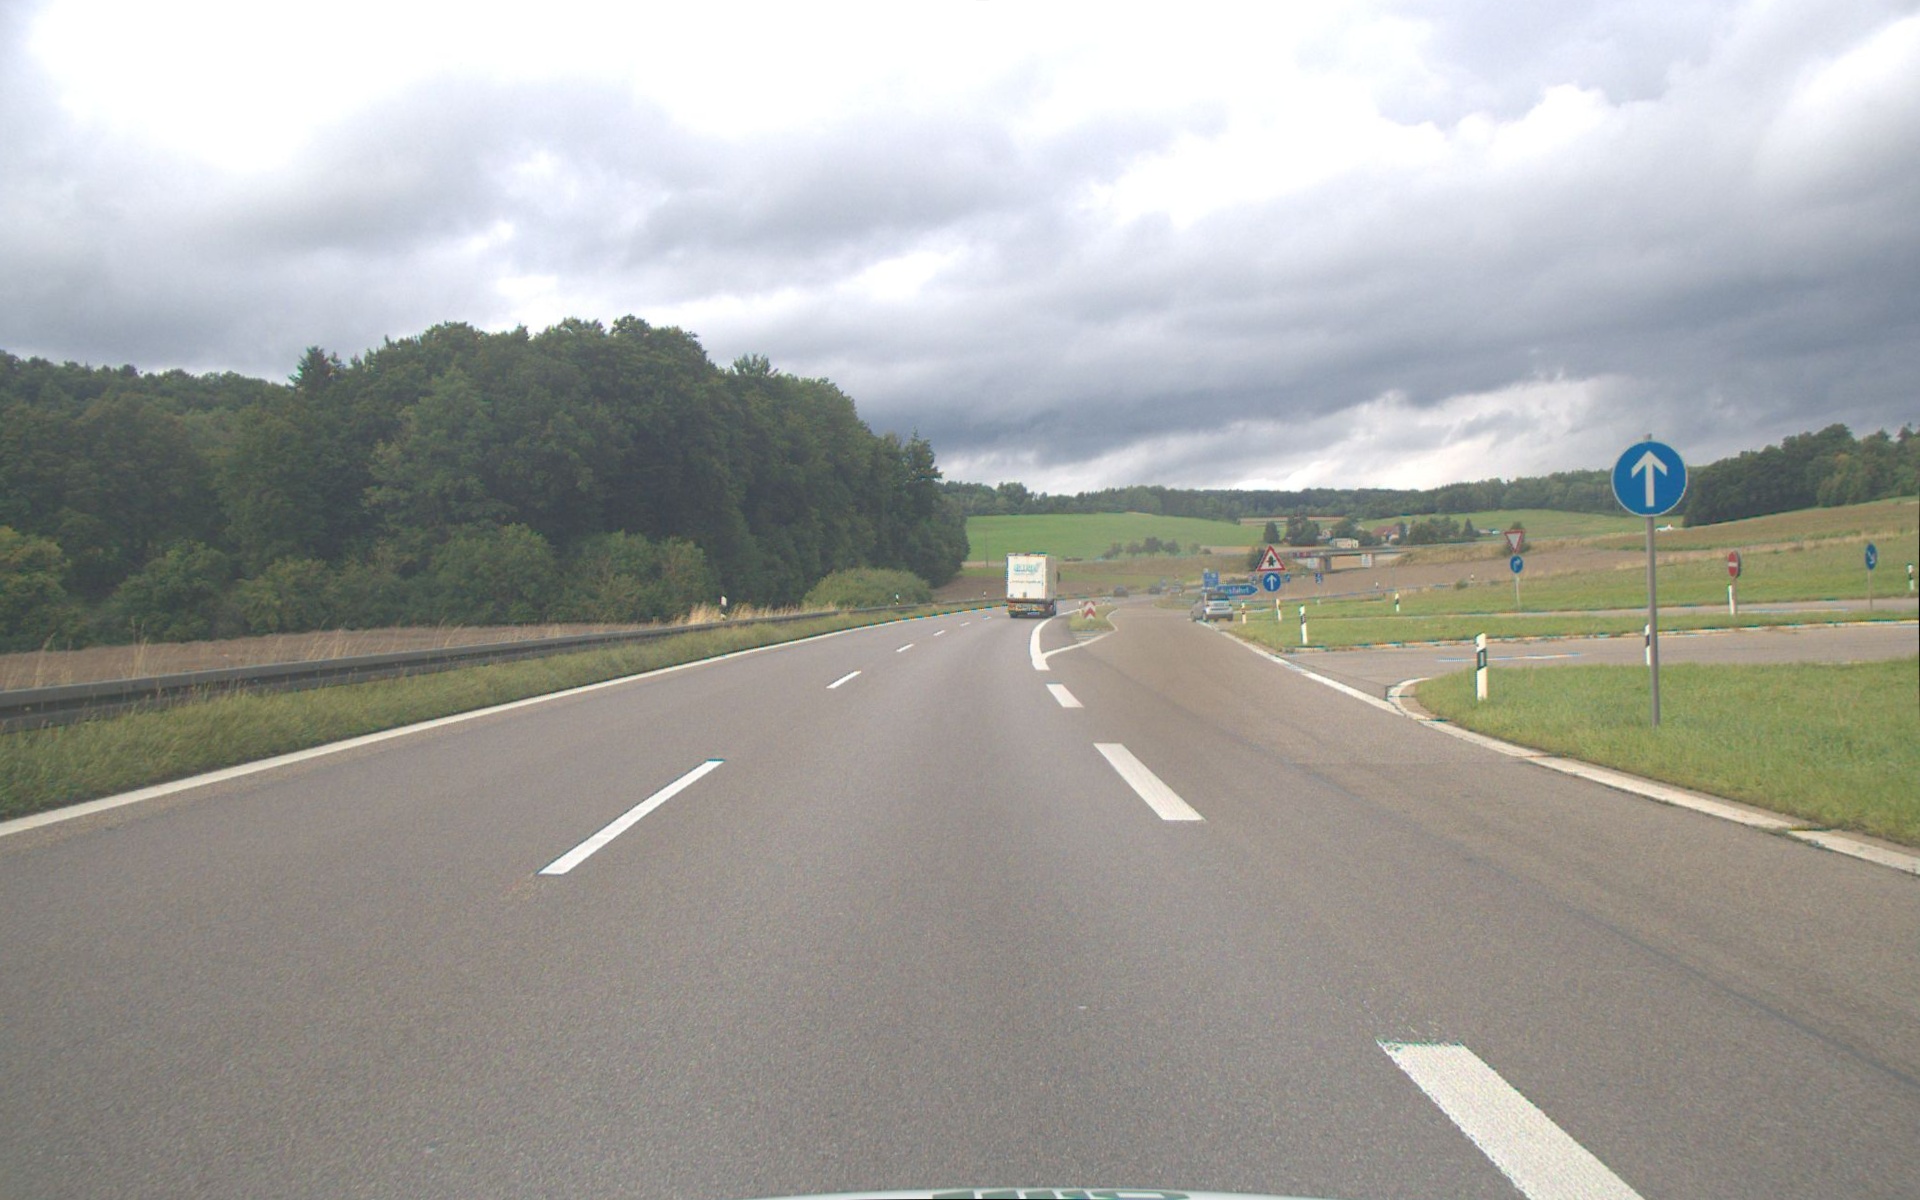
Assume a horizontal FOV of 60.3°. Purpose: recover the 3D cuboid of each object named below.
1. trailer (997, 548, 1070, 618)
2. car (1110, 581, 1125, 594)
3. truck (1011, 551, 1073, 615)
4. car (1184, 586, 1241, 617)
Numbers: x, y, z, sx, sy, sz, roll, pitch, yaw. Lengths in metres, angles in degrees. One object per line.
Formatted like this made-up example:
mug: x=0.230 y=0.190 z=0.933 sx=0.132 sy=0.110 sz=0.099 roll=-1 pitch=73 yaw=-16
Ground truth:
trailer: x=5.024 y=-1.117 z=109.316 sx=3.725 sy=4.247 sz=14.819 roll=1 pitch=1 yaw=7
car: x=23.912 y=-1.837 z=251.286 sx=1.862 sy=1.827 sz=4.003 roll=0 pitch=-1 yaw=10
truck: x=5.798 y=-1.186 z=115.988 sx=3.707 sy=4.204 sz=8.271 roll=1 pitch=1 yaw=7
car: x=13.481 y=0.064 z=88.576 sx=1.746 sy=1.579 sz=3.989 roll=-1 pitch=1 yaw=-12
